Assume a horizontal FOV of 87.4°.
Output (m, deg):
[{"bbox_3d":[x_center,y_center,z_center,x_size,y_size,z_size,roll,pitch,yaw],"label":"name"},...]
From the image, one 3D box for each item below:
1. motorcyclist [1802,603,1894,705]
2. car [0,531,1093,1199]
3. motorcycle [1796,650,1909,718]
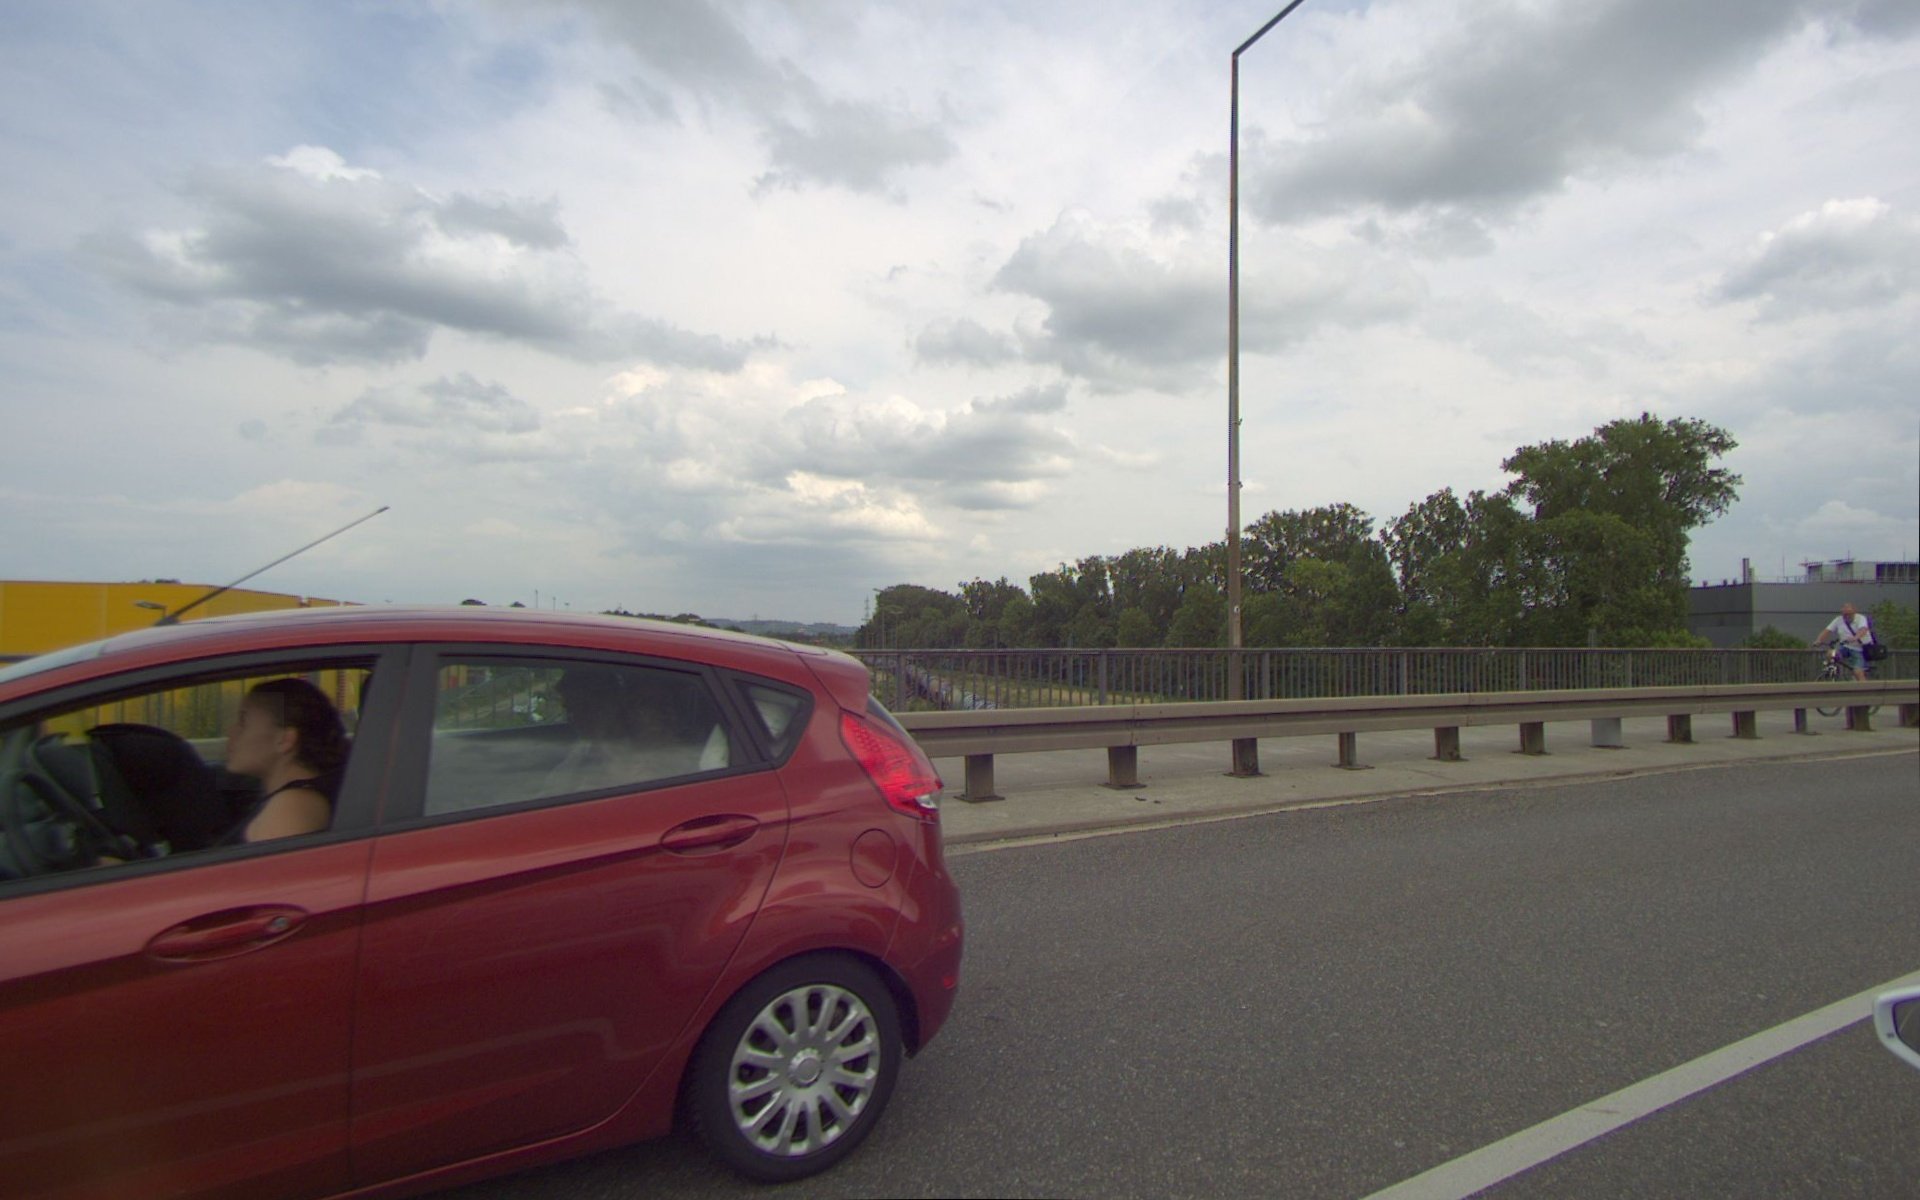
[{"bbox_3d":[13.946,0.832,15.784,0.813,1.550,0.807,1,0,-26],"label":"motorcyclist"},{"bbox_3d":[-1.757,0.642,2.598,3.956,1.512,1.749,2,0,-32],"label":"car"},{"bbox_3d":[13.932,1.290,15.671,1.814,0.976,0.624,1,0,-25],"label":"motorcycle"}]
